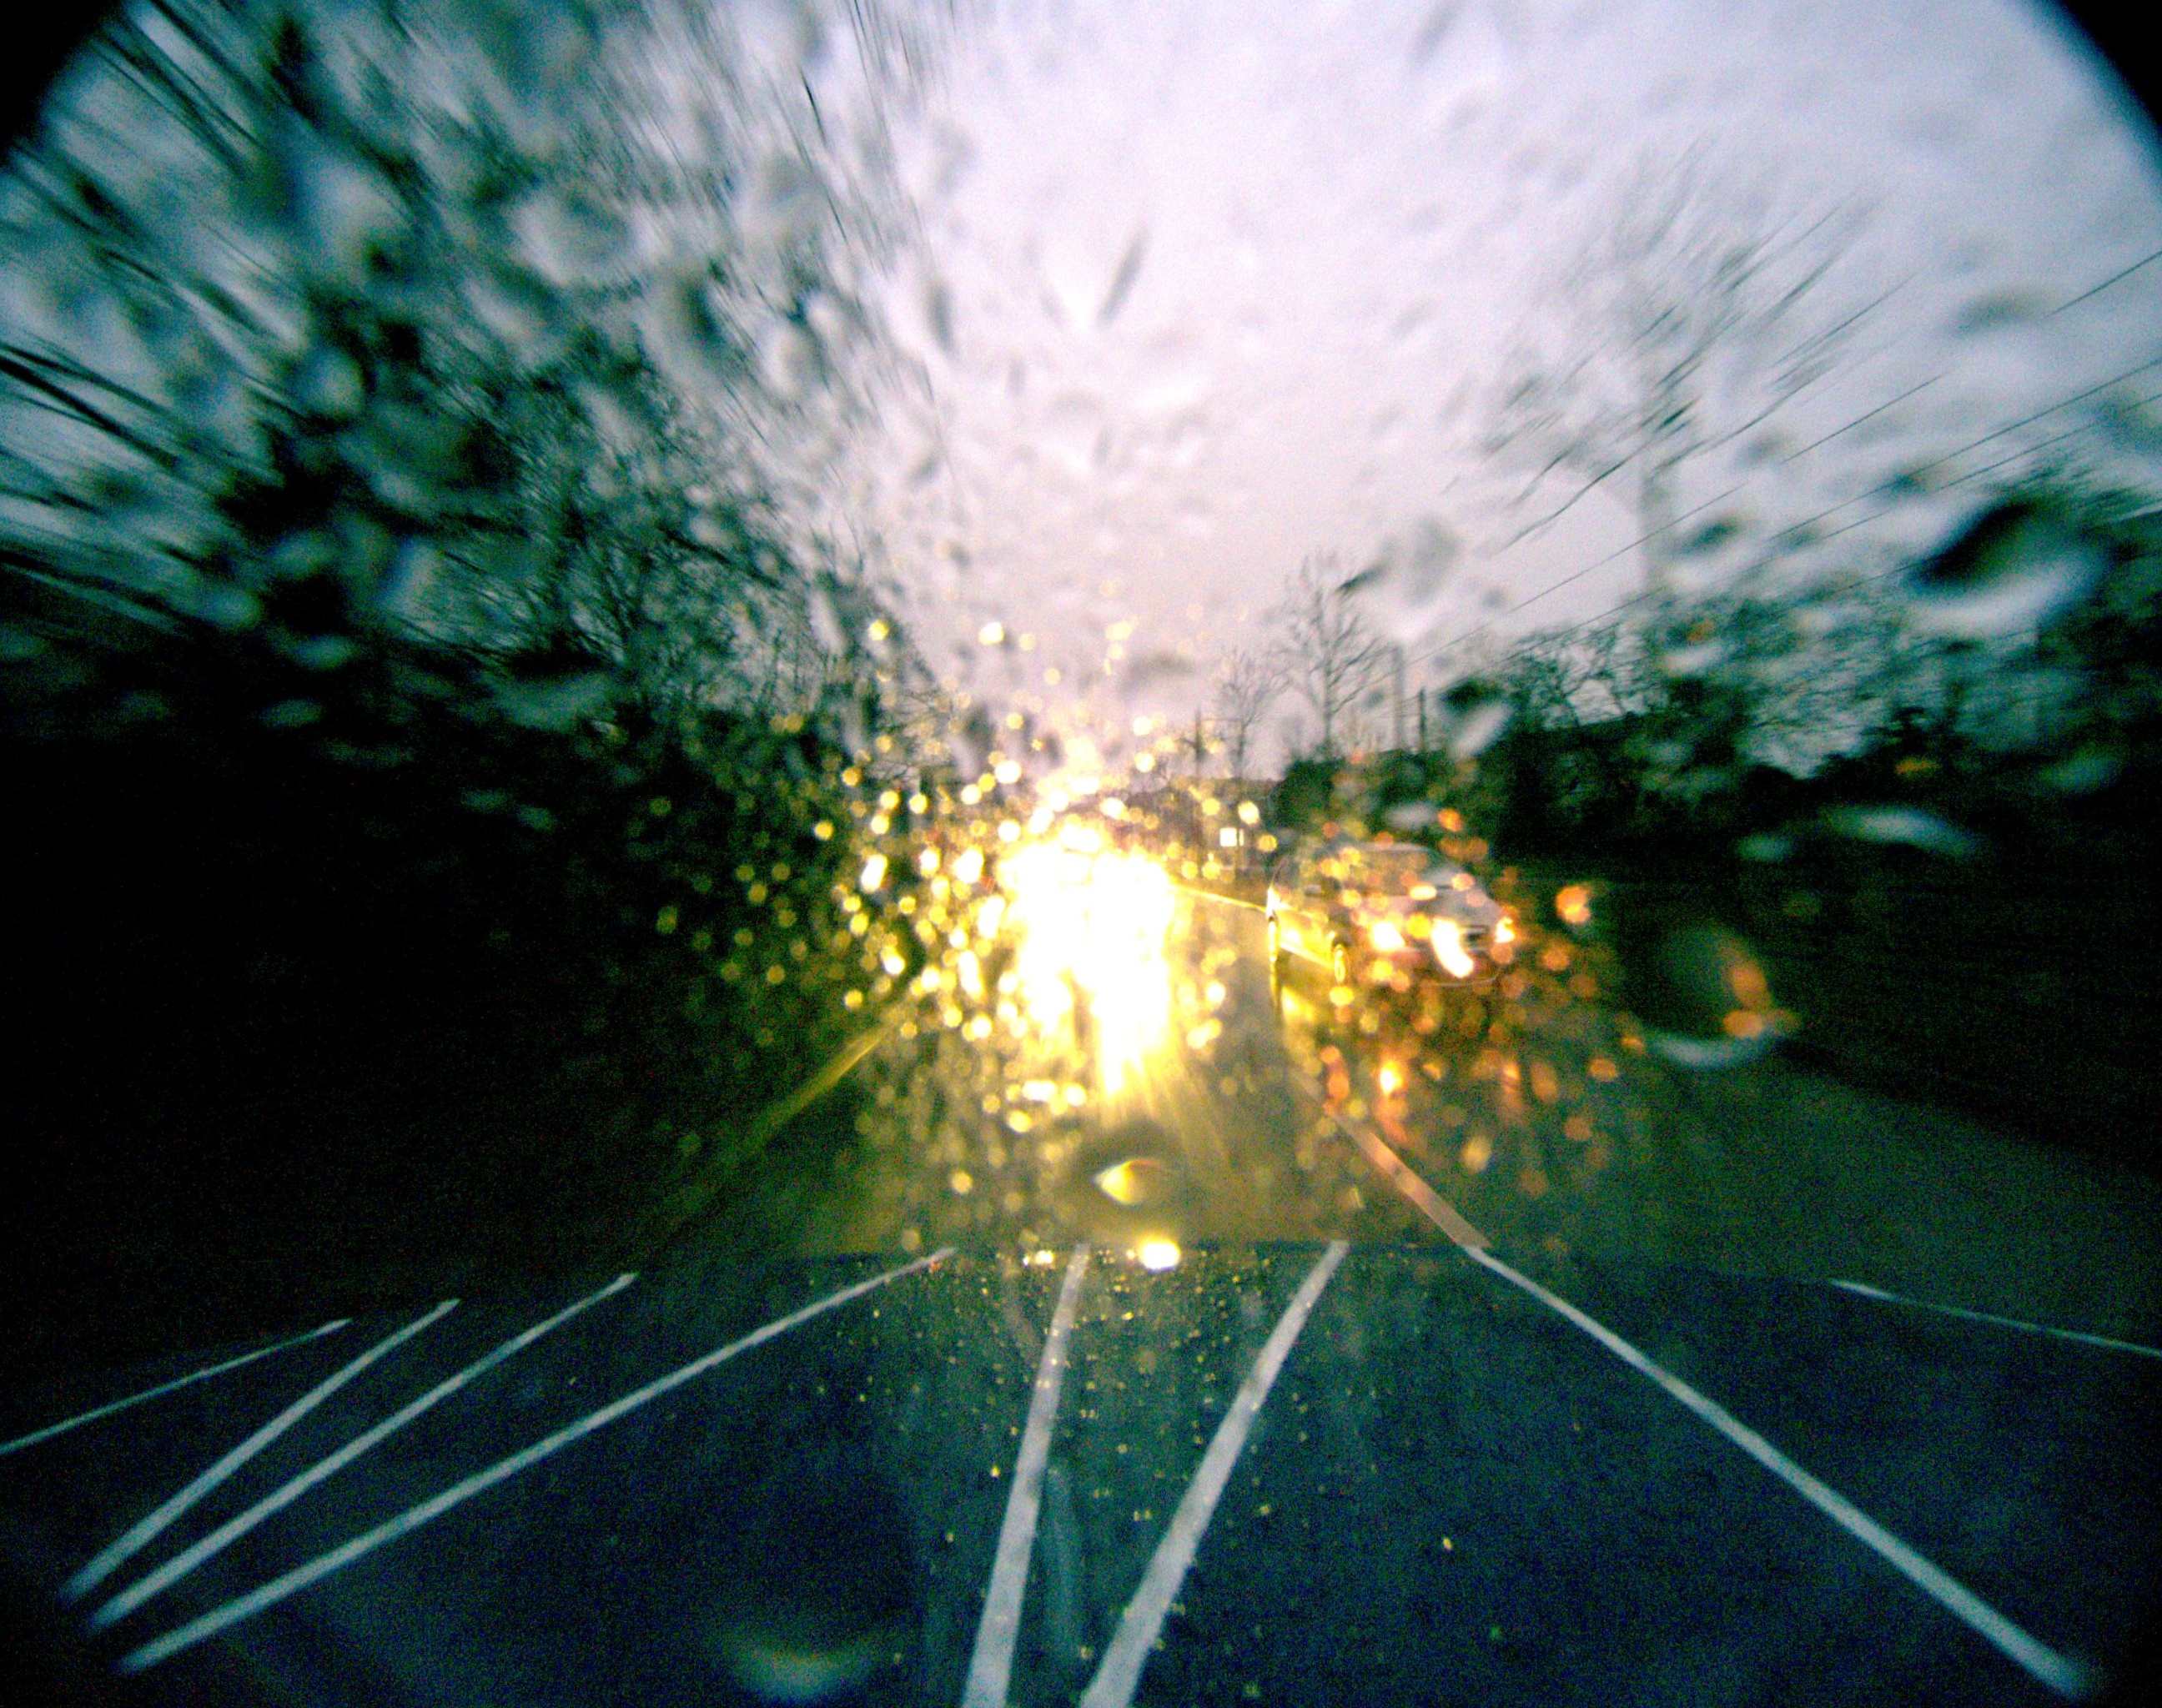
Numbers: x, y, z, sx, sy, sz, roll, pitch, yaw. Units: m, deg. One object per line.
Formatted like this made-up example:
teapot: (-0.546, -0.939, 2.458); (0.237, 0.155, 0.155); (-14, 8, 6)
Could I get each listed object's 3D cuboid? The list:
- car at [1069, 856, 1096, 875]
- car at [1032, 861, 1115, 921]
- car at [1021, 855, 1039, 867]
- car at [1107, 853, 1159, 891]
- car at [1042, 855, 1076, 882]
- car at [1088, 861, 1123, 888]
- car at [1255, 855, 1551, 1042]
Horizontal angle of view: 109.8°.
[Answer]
car: (0.090, 0.953, 65.220); (1.950, 1.546, 4.215); (-2, 0, -4)
car: (-0.293, 0.860, 19.538); (1.897, 1.347, 4.288); (-1, 0, -3)
car: (-6.893, 0.905, 101.940); (1.951, 1.546, 4.213); (-2, 0, -10)
car: (2.318, 0.782, 34.730); (1.924, 1.546, 4.216); (-2, 0, -1)
car: (-1.421, 0.856, 47.222); (1.950, 1.546, 4.216); (-2, 0, -3)
car: (1.519, 1.291, 48.924); (1.845, 1.546, 4.216); (-2, 0, -2)
car: (3.275, 0.833, 8.624); (1.669, 1.566, 3.922); (-2, 0, 0)
